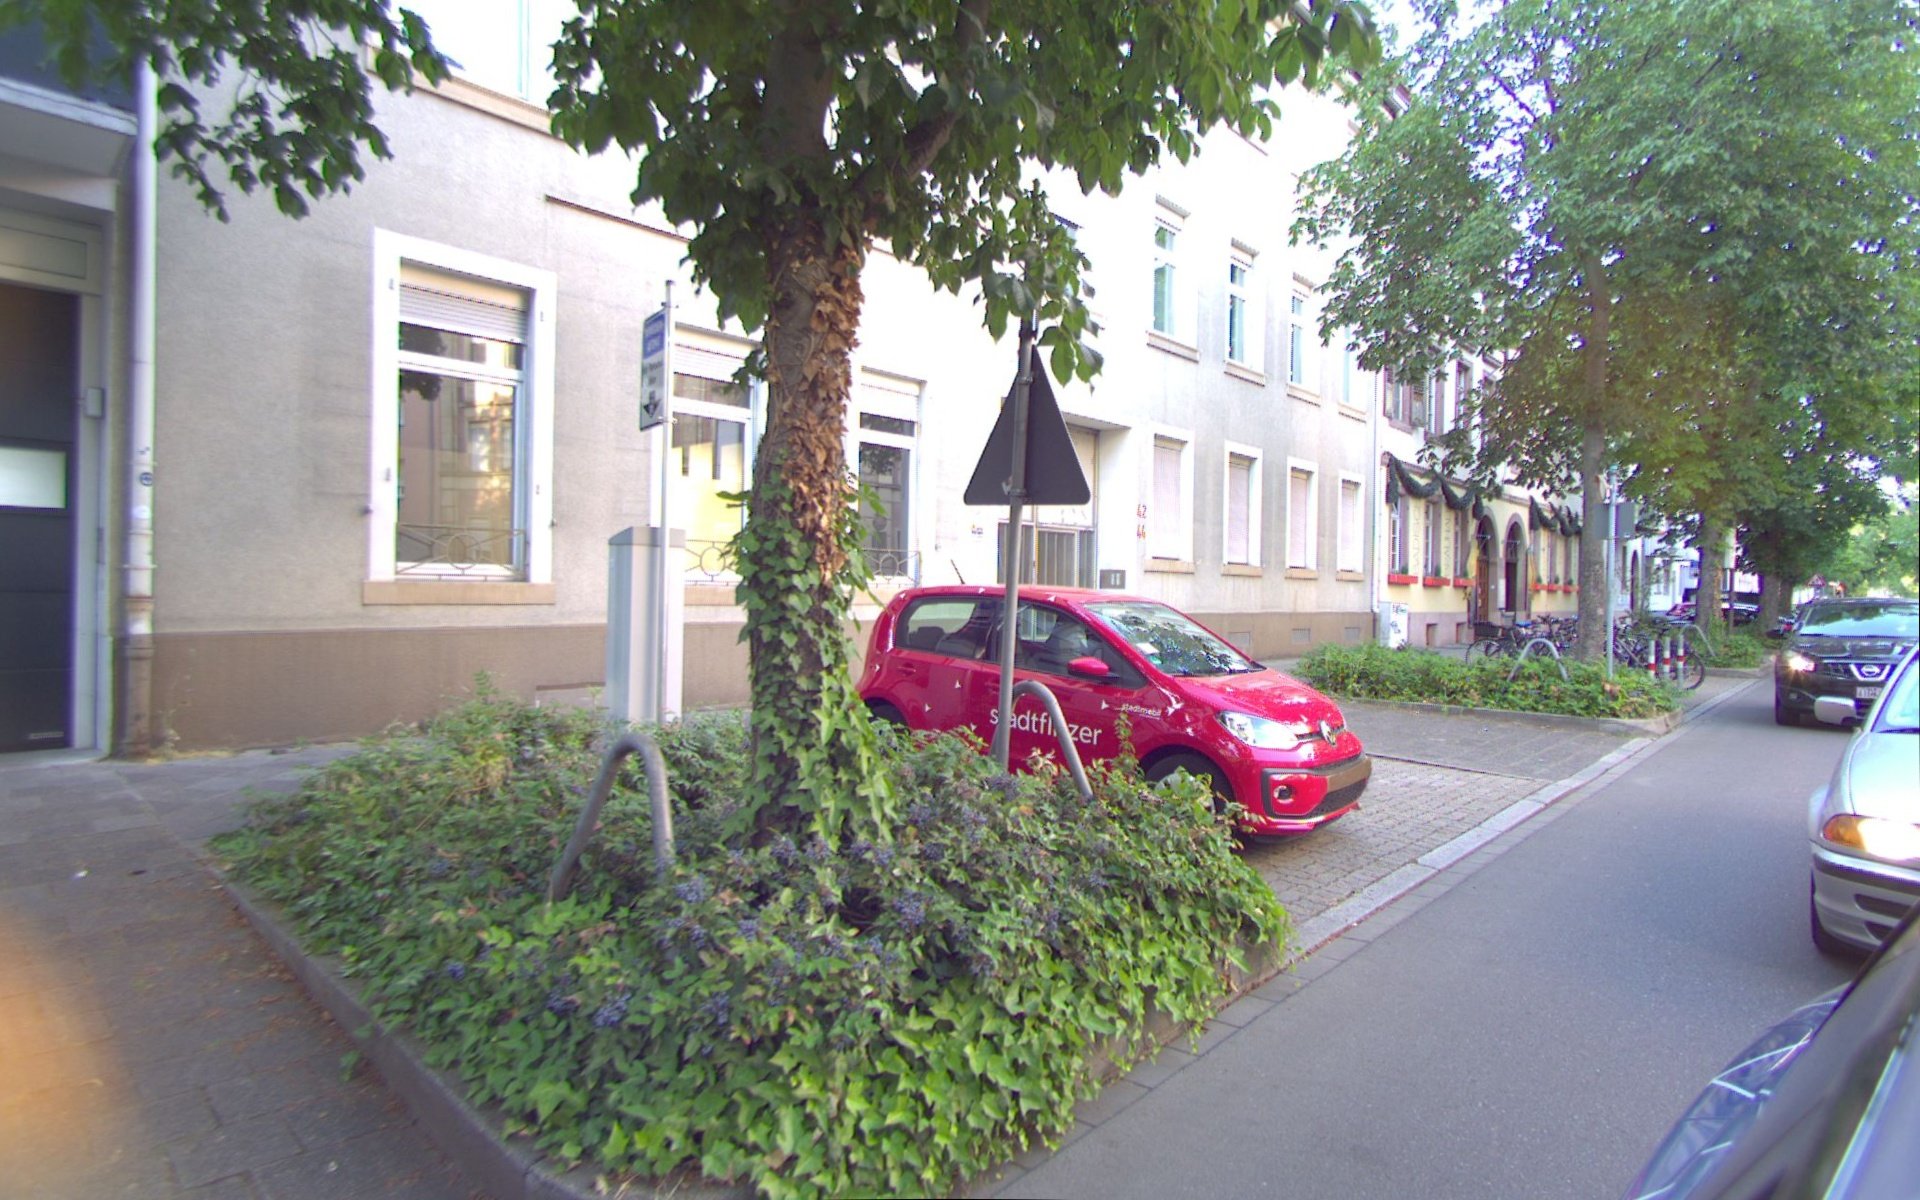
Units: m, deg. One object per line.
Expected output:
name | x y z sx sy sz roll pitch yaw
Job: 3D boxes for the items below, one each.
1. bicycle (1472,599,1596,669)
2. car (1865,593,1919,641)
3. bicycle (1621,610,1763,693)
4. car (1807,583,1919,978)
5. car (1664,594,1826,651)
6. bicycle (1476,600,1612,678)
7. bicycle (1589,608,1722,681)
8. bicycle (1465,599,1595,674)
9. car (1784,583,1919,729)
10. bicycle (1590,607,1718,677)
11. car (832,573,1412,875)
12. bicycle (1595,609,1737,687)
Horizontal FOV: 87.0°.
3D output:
bicycle | 11.039 0.625 19.509 2.017 1.242 0.529 2 1 37
car | 32.886 0.565 35.247 1.802 1.571 3.935 2 1 45
bicycle | 11.961 0.818 16.616 1.835 1.242 0.529 2 1 33
car | 5.546 0.680 4.768 4.358 1.460 1.710 0 1 -41
car | 26.719 0.705 34.538 4.232 1.761 1.715 2 1 43
bicycle | 10.193 0.647 17.704 2.014 1.242 0.529 2 1 33
bicycle | 13.099 0.804 19.096 2.019 1.242 0.528 2 1 39
bicycle | 10.408 0.638 18.514 2.014 1.242 0.529 2 1 33
car | 11.674 0.609 12.612 1.802 1.571 3.935 2 1 45
bicycle | 13.579 0.794 19.849 2.019 1.242 0.528 2 1 39
car | 0.927 0.584 6.904 3.609 1.495 1.639 2 1 43
bicycle | 12.464 0.819 17.902 2.019 1.242 0.528 2 1 39
